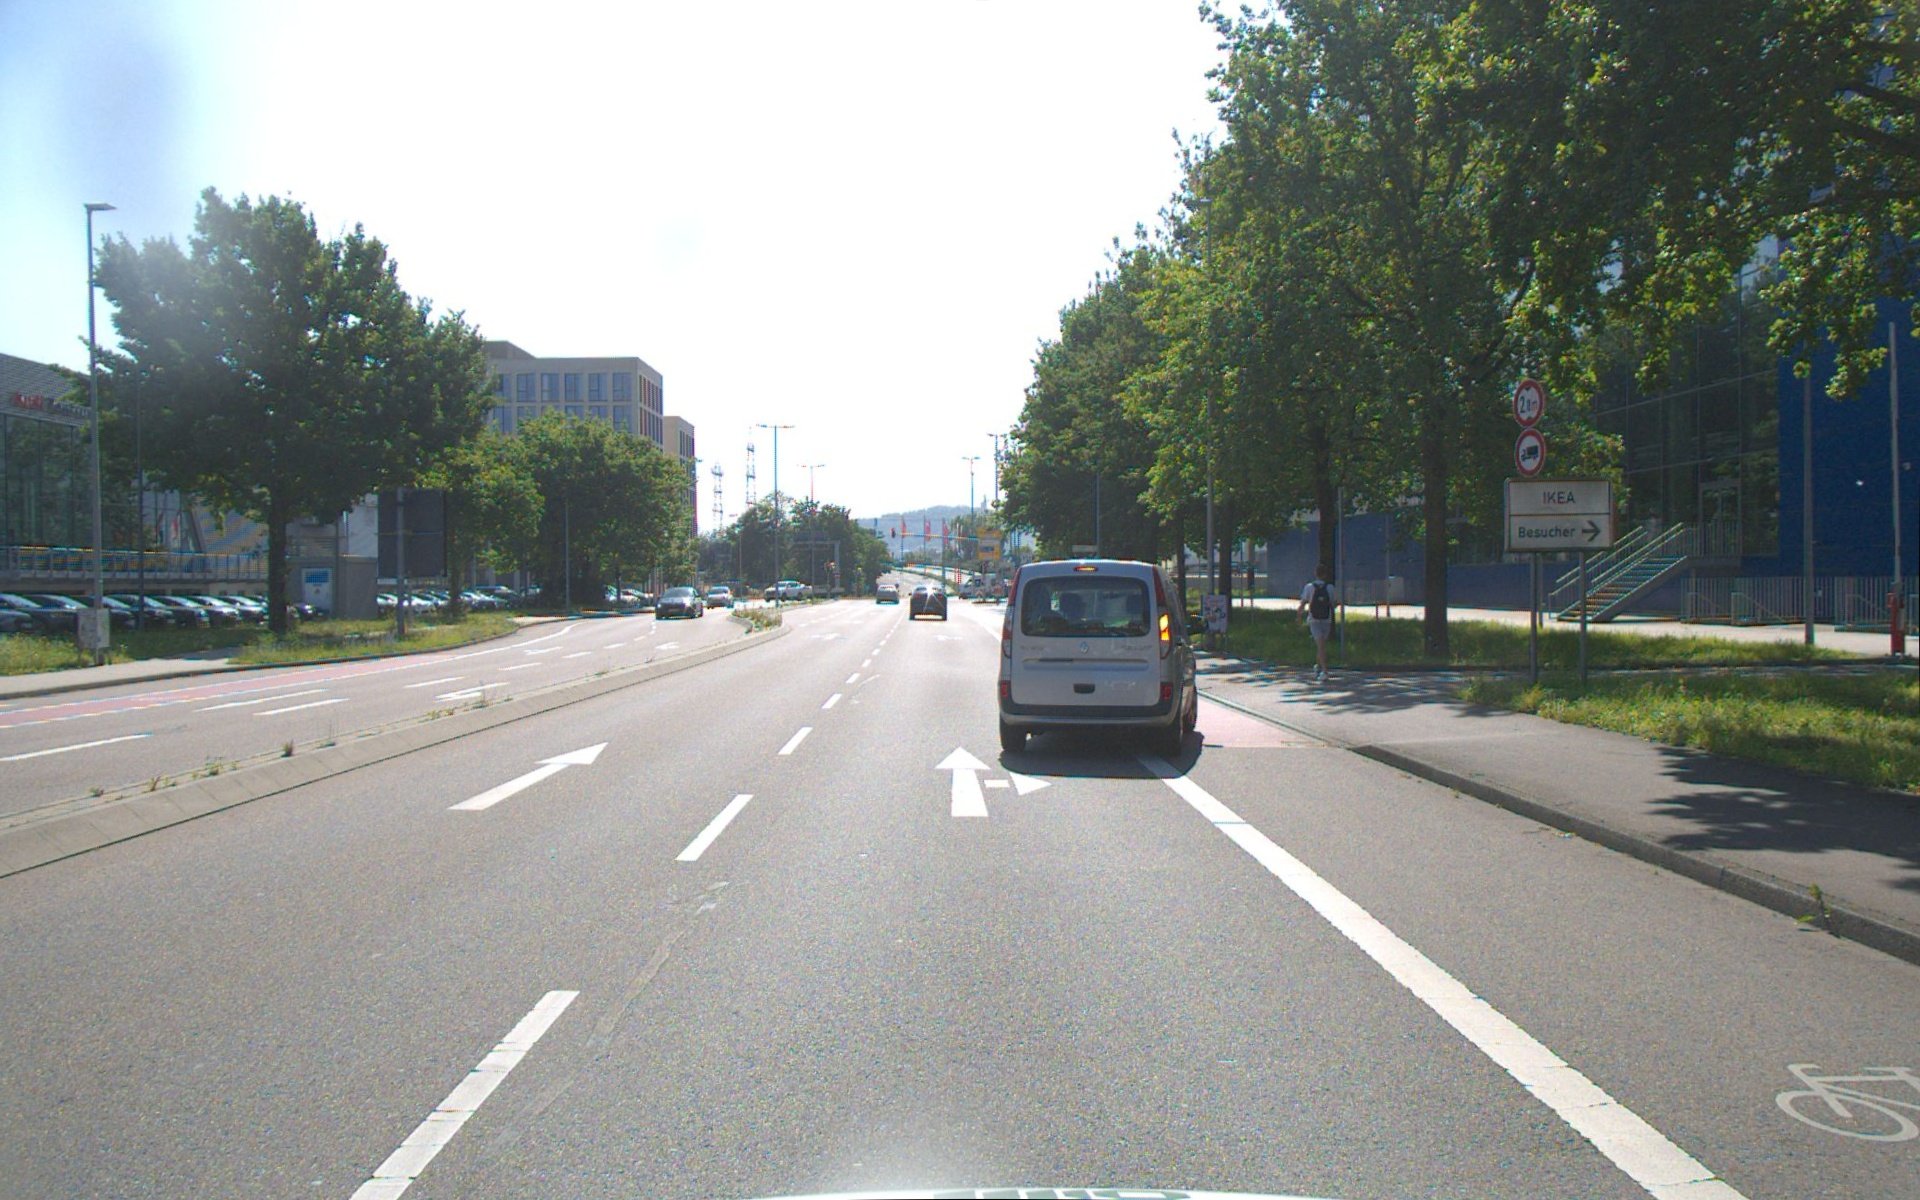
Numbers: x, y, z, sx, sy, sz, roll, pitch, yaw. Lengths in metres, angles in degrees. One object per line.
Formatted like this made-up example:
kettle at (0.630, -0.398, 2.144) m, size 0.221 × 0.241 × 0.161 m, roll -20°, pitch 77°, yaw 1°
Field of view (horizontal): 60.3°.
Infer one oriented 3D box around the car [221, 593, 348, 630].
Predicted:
car at (-26.694, 0.430, 65.411) m, size 4.177 × 1.374 × 1.954 m, roll -1°, pitch 0°, yaw 1°

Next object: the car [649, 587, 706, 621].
car at (-13.332, 0.167, 78.251) m, size 1.804 × 1.489 × 4.999 m, roll -3°, pitch 0°, yaw 0°

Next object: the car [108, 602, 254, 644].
car at (-27.324, 0.797, 58.077) m, size 4.177 × 1.374 × 1.954 m, roll -1°, pitch 0°, yaw 1°

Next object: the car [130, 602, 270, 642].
car at (-27.737, 0.780, 60.473) m, size 4.177 × 1.374 × 1.954 m, roll -1°, pitch 0°, yaw 1°

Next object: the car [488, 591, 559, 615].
car at (-27.302, 0.161, 103.485) m, size 3.905 × 1.400 × 1.924 m, roll -1°, pitch 0°, yaw -1°

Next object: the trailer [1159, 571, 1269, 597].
trailer at (27.499, -1.774, 179.620) m, size 11.621 × 2.512 × 2.001 m, roll 2°, pitch 1°, yaw 4°

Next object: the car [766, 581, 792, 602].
car at (-16.429, -0.762, 150.361) m, size 1.954 × 1.864 × 4.935 m, roll -1°, pitch 0°, yaw -3°

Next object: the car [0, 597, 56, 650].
car at (-27.213, 0.645, 44.949) m, size 4.177 × 1.374 × 1.954 m, roll -1°, pitch 0°, yaw 1°

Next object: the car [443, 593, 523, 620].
car at (-26.927, 0.359, 93.468) m, size 3.905 × 1.400 × 1.924 m, roll -1°, pitch 0°, yaw -1°

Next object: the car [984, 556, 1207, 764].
car at (1.528, 0.528, 17.061) m, size 1.864 × 1.861 × 4.184 m, roll -1°, pitch 0°, yaw 10°

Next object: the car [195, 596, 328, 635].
car at (-26.454, 0.574, 62.712) m, size 4.177 × 1.374 × 1.954 m, roll -1°, pitch 0°, yaw 1°

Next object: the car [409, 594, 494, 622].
car at (-27.158, 0.437, 88.377) m, size 3.905 × 1.400 × 1.924 m, roll -1°, pitch 0°, yaw -1°

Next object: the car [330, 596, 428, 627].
car at (-27.302, 0.532, 77.763) m, size 3.905 × 1.400 × 1.865 m, roll -1°, pitch 0°, yaw -1°

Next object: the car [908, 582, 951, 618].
car at (-1.454, -0.015, 80.700) m, size 1.769 × 1.668 × 4.460 m, roll -1°, pitch 1°, yaw 2°

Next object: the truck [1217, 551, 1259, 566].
truck at (40.497, -6.009, 241.208) m, size 5.787 × 2.048 × 2.001 m, roll 2°, pitch 1°, yaw 1°

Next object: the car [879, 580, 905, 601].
car at (-5.554, -0.785, 135.074) m, size 1.953 × 1.713 × 4.000 m, roll -1°, pitch 0°, yaw 0°

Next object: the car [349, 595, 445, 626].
car at (-27.366, 0.517, 80.451) m, size 3.959 × 1.400 × 2.025 m, roll -1°, pitch 0°, yaw -1°

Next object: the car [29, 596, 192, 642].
car at (-27.161, 0.604, 52.966) m, size 4.177 × 1.374 × 1.954 m, roll -1°, pitch 0°, yaw 1°

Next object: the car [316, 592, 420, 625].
car at (-26.509, 0.383, 74.136) m, size 3.905 × 1.400 × 2.000 m, roll -1°, pitch 0°, yaw -1°

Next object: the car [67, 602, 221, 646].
car at (-27.365, 0.798, 55.549) m, size 4.177 × 1.374 × 1.954 m, roll -1°, pitch 0°, yaw 1°

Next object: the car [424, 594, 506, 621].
car at (-27.158, 0.408, 90.777) m, size 3.905 × 1.400 × 1.924 m, roll -1°, pitch 0°, yaw -1°

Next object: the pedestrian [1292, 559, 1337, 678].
pedestrian at (5.647, 0.291, 26.371) m, size 0.524 × 1.874 × 0.728 m, roll -1°, pitch 0°, yaw 0°

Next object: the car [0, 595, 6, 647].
car at (-27.141, 0.584, 42.423) m, size 4.177 × 1.374 × 1.954 m, roll -1°, pitch 0°, yaw 1°

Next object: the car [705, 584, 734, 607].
car at (-16.635, -0.309, 114.447) m, size 1.621 × 1.489 × 3.548 m, roll -2°, pitch 1°, yaw -3°

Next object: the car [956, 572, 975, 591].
car at (0.591, -1.932, 170.181) m, size 1.723 × 1.789 × 3.601 m, roll 1°, pitch 2°, yaw -4°

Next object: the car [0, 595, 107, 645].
car at (-27.118, 0.584, 47.522) m, size 4.177 × 1.374 × 1.954 m, roll -1°, pitch 0°, yaw 1°
